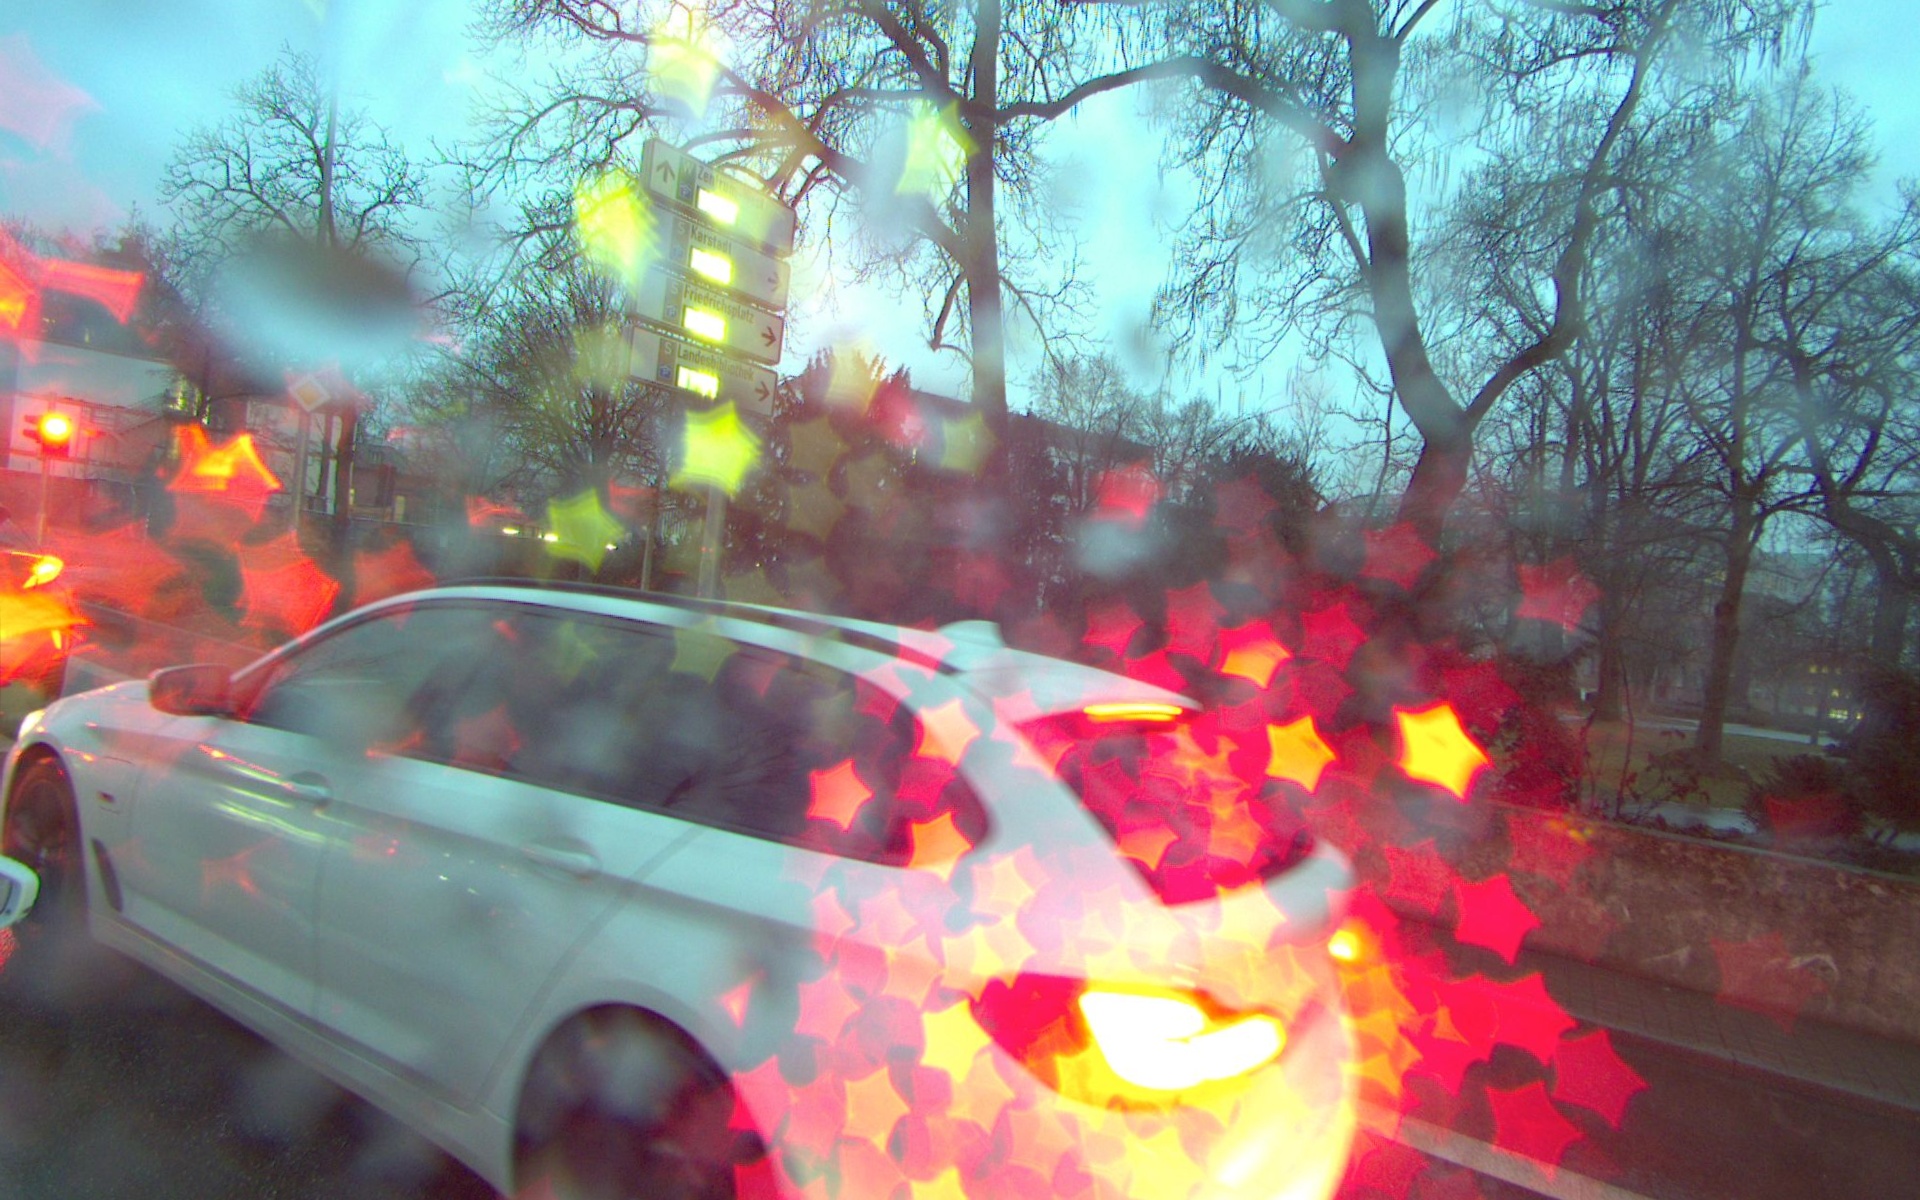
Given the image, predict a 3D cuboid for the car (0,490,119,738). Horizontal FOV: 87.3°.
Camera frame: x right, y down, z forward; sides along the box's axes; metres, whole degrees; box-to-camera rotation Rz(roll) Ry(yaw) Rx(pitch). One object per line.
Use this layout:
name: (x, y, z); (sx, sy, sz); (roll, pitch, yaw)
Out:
car: (-7.713, -0.120, 6.901); (3.831, 1.529, 1.802); (7, 0, 32)

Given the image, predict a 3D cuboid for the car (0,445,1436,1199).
car: (-1.227, 0.527, 3.315); (4.852, 1.575, 1.866); (7, 0, 28)
